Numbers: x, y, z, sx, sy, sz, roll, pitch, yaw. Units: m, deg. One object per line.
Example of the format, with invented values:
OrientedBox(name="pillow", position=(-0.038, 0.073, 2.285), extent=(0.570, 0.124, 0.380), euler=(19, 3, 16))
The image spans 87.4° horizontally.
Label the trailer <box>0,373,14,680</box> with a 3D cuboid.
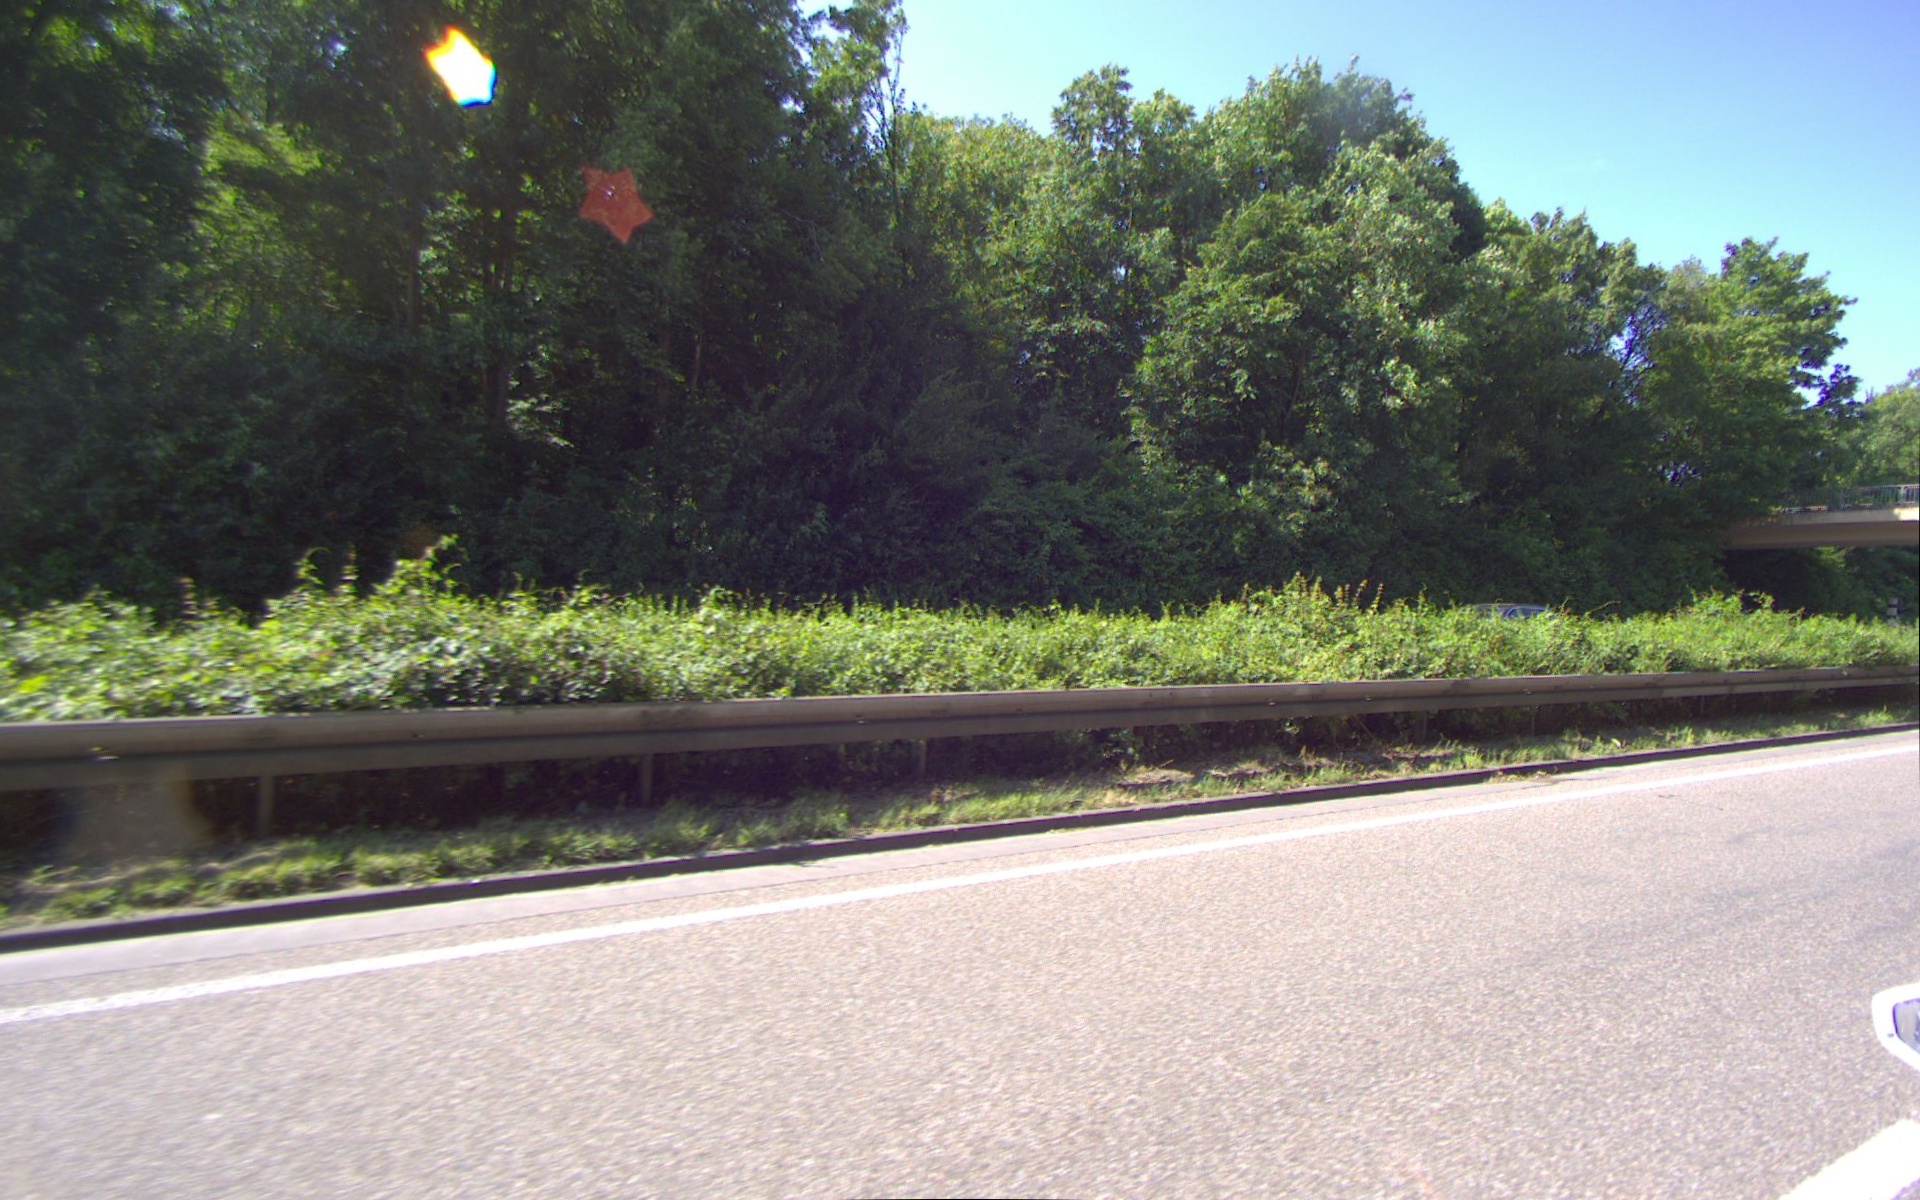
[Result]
OrientedBox(name="trailer", position=(-15.363, -0.929, 7.908), extent=(11.285, 3.447, 1.984), euler=(1, 0, -30))
